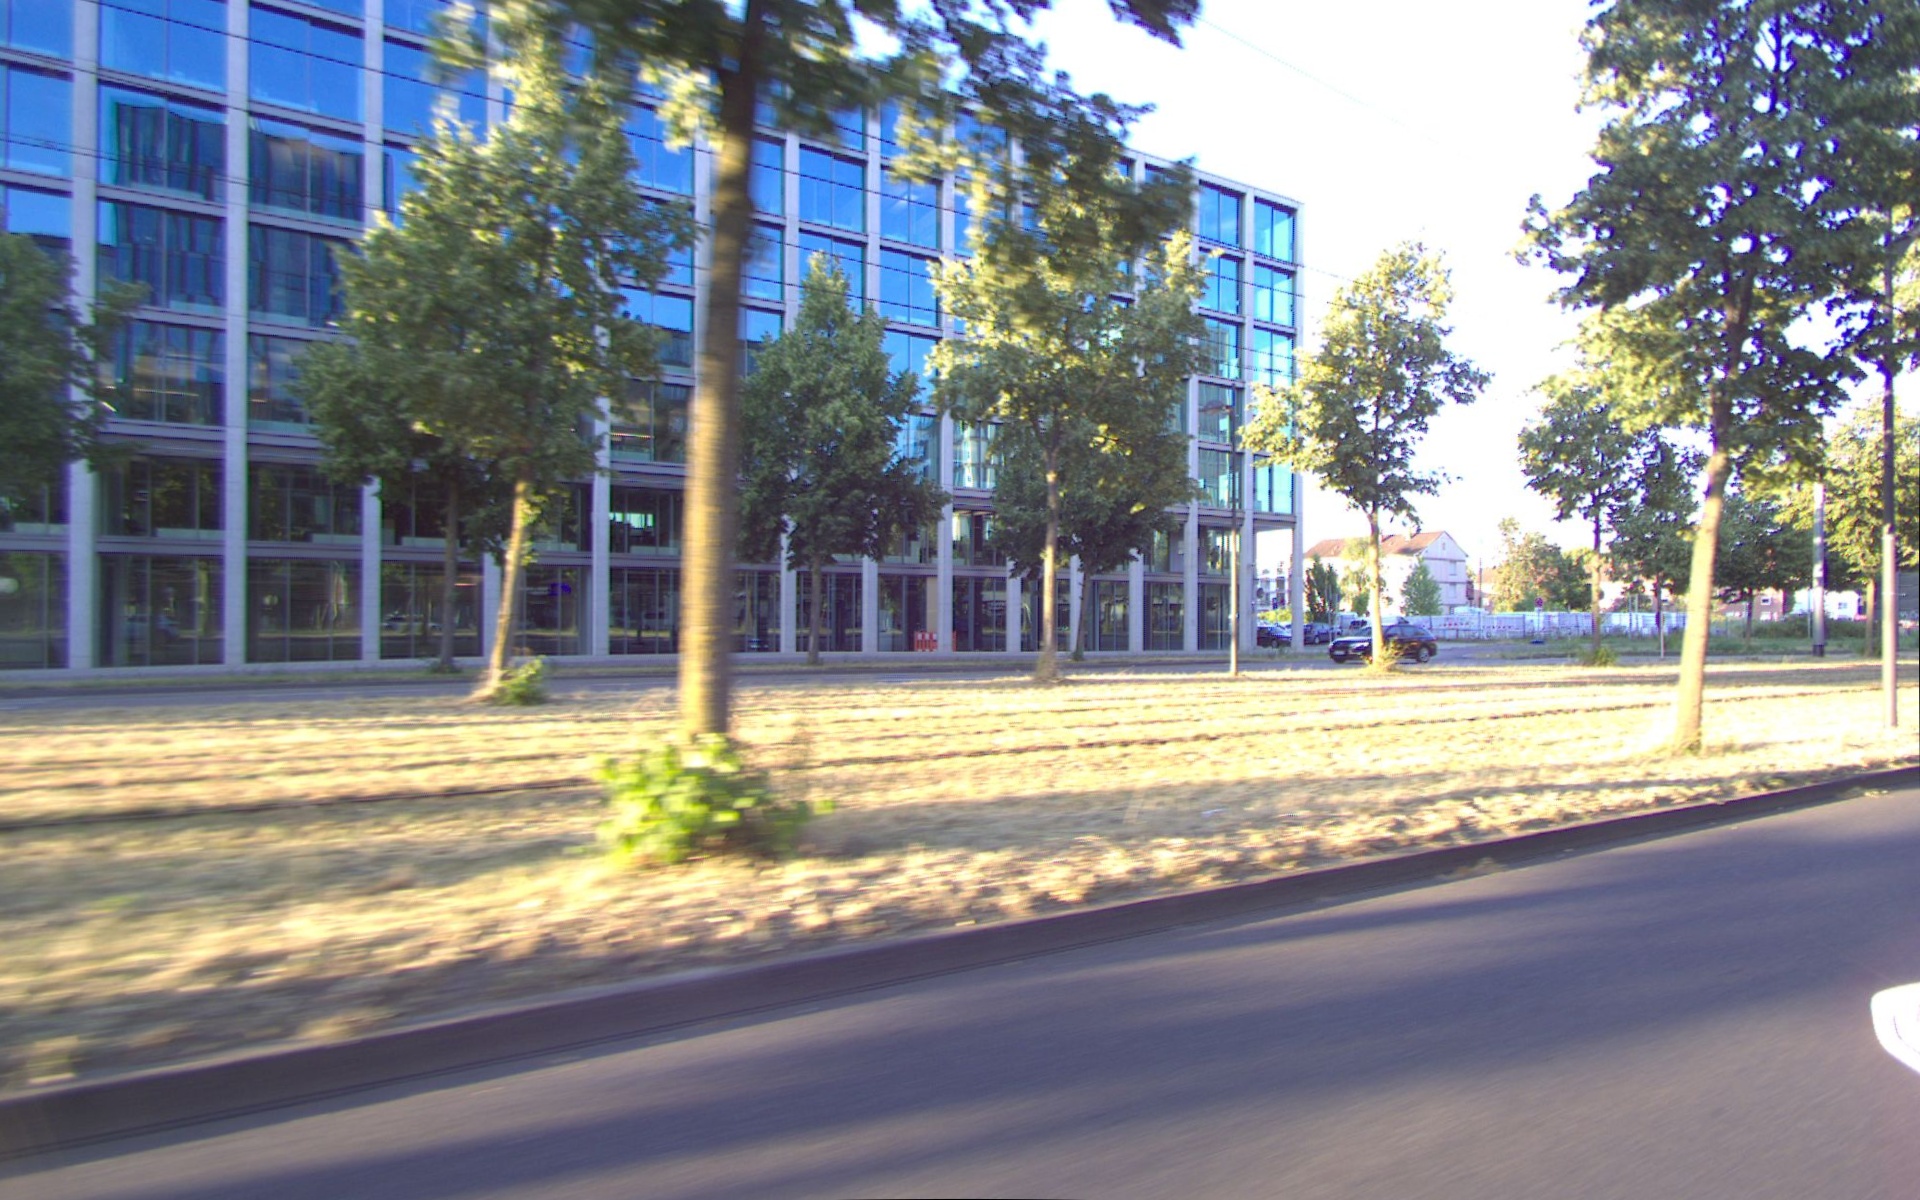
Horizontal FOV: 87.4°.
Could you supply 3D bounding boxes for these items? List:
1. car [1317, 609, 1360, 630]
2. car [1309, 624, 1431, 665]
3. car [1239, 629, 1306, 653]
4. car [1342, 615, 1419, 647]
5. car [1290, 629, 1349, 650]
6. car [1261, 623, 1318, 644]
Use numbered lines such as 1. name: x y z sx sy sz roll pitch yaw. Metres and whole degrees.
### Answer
1. car: 37.226 1.902 98.810 4.263 2.008 1.788 1 -1 -31
2. car: 15.248 1.632 37.293 4.334 1.441 1.923 1 -1 -29
3. car: 19.821 2.582 63.849 1.870 1.465 3.973 1 -1 -26
4. car: 28.430 2.088 67.862 5.023 2.040 2.196 1 -1 -30
5. car: 26.067 2.878 72.898 3.953 1.437 1.984 1 -1 -30
6. car: 24.907 2.511 75.831 3.953 1.530 1.984 1 -1 -30
